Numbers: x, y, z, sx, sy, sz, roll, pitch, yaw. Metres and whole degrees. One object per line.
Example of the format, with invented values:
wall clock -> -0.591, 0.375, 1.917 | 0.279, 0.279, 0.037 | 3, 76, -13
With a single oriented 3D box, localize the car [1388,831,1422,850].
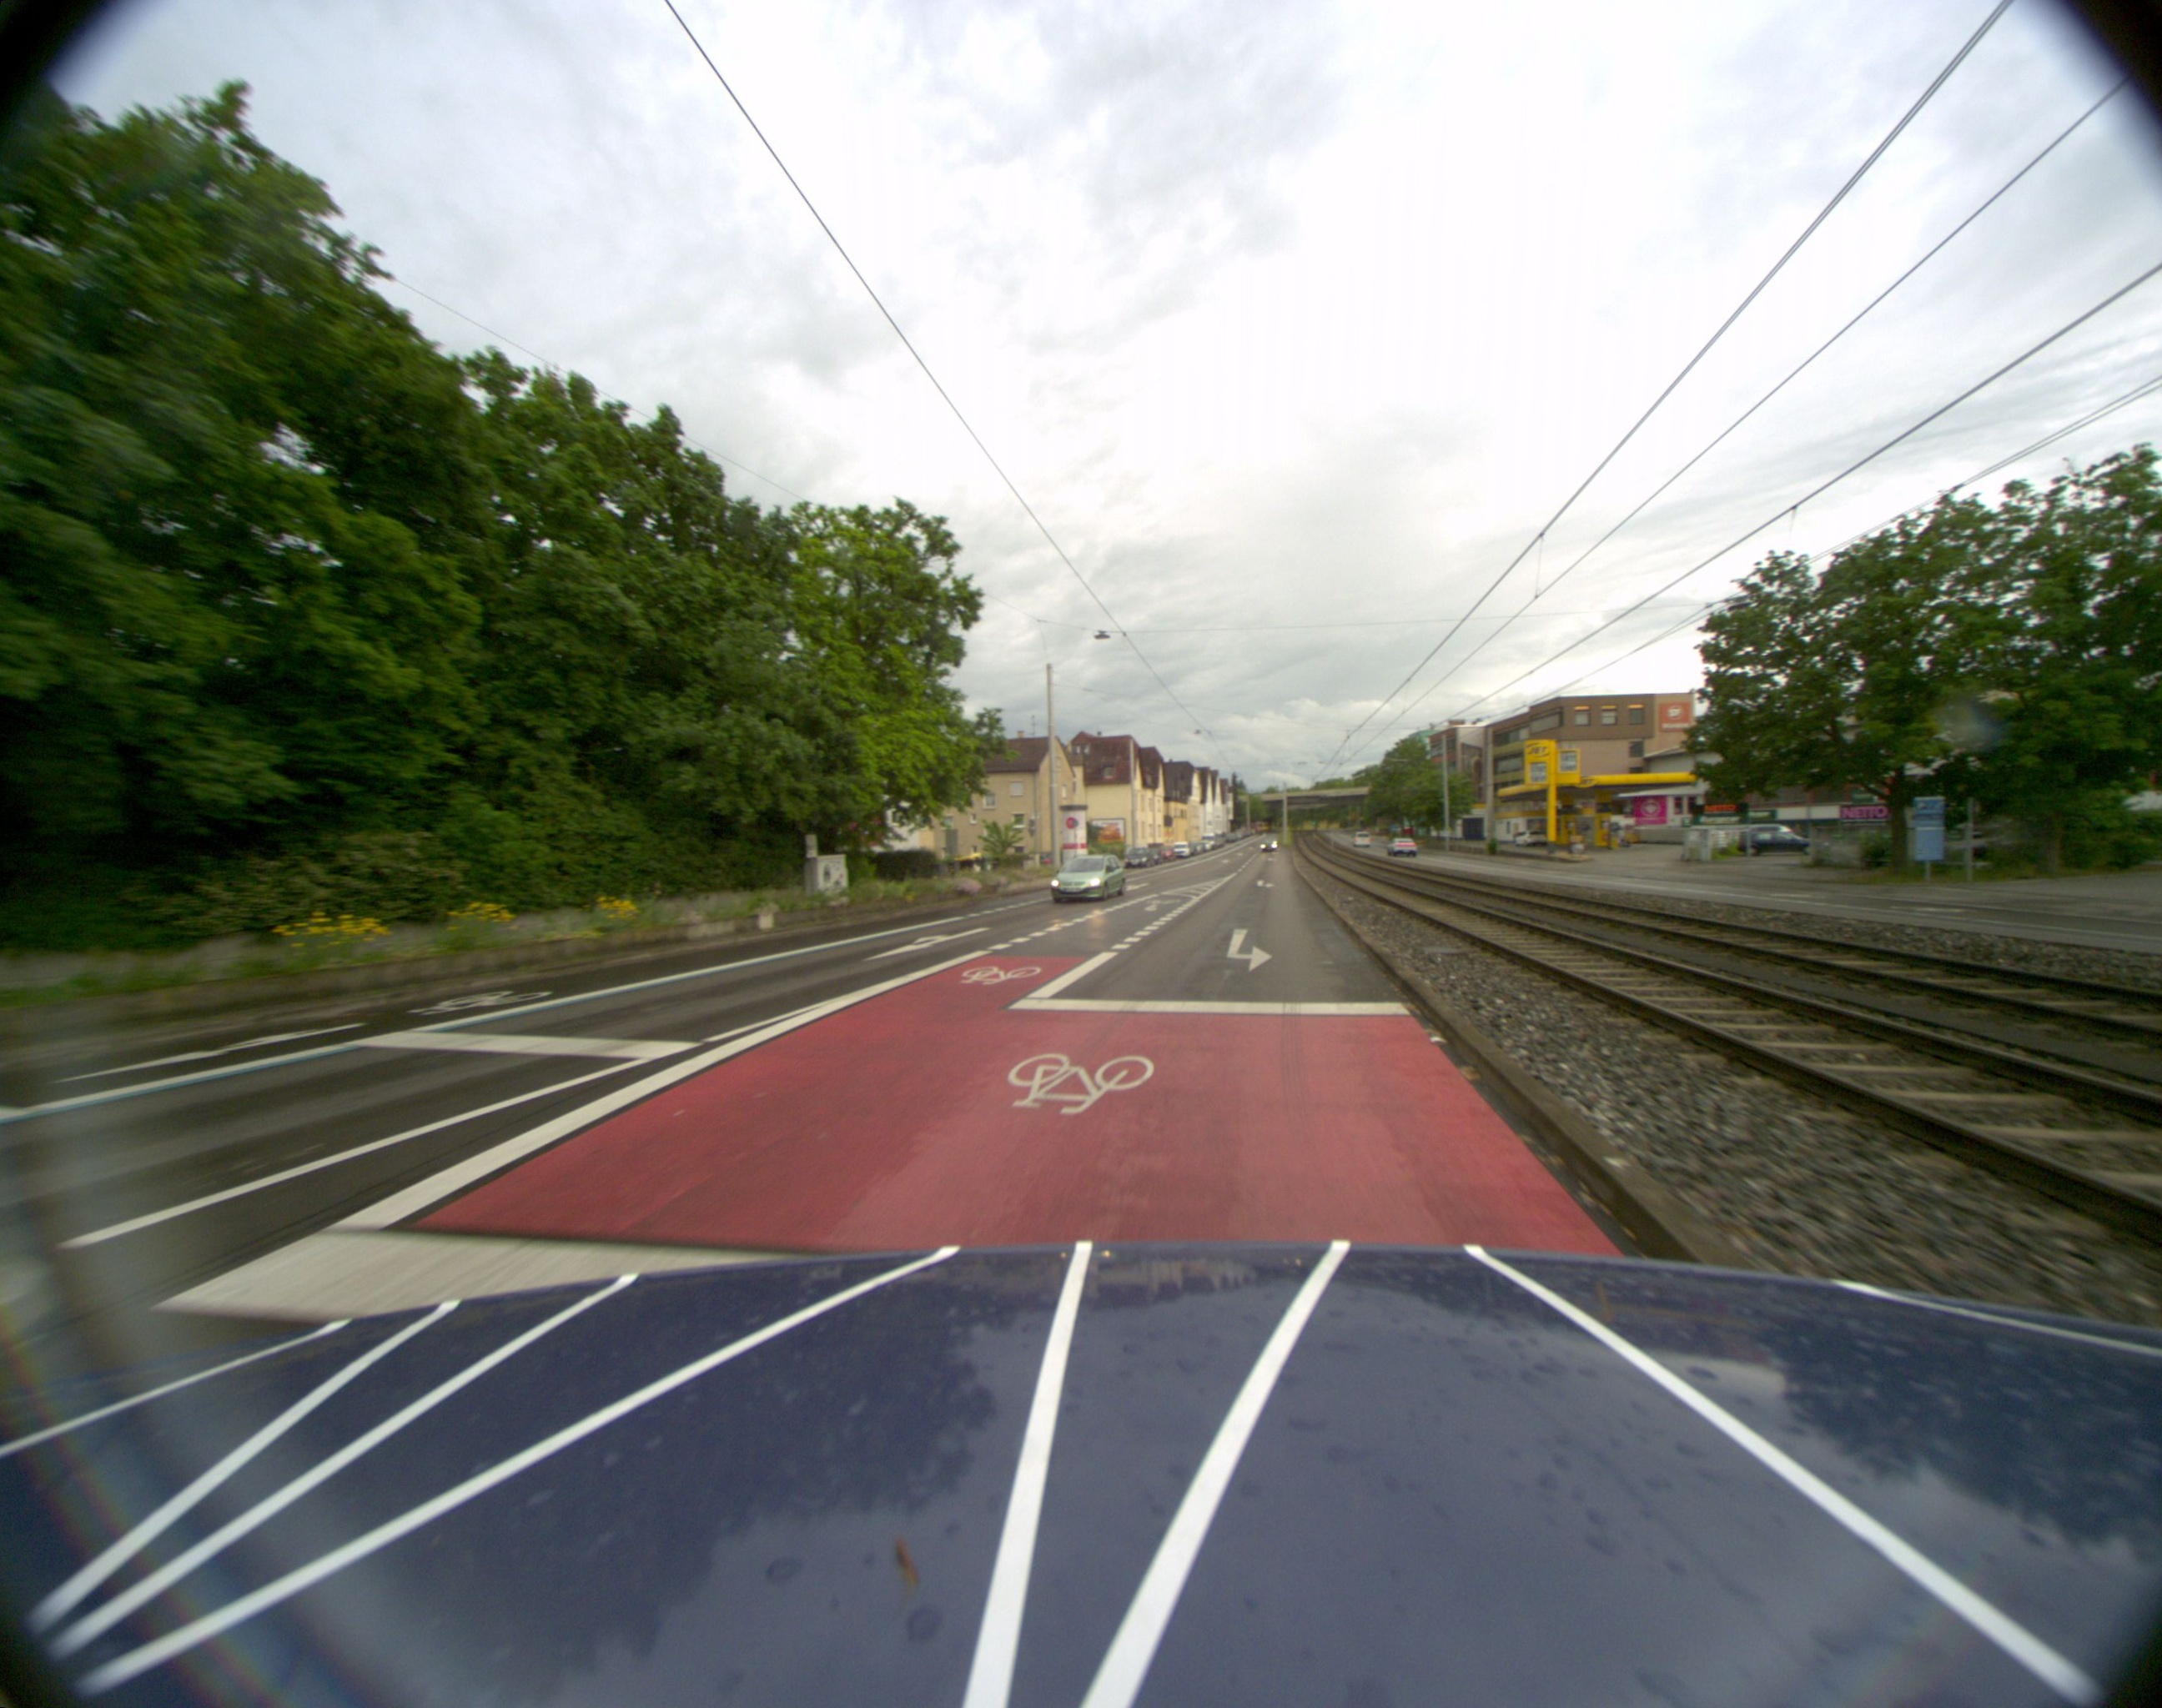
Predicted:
car -> 29.086, -1.245, 68.344 | 1.996, 1.640, 4.763 | 1, 1, 13

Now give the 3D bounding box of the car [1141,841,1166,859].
car -> 6.430, -0.367, 67.060 | 1.670, 1.436, 3.931 | -3, 2, 13

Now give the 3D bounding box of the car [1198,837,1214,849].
car -> 17.125, -1.565, 104.220 | 1.603, 1.456, 4.204 | -2, 2, 16

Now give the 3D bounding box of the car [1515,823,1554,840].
car -> 40.807, -2.022, 68.418 | 1.773, 1.408, 4.077 | -3, 2, 12

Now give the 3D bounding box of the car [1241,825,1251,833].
car -> 36.200, -5.425, 166.658 | 1.724, 1.539, 4.204 | -2, 2, 17

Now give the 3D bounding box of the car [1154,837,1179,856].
car -> 8.365, -0.749, 74.060 | 1.839, 1.619, 4.102 | -2, 2, 15

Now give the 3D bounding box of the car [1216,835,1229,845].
car -> 21.654, -2.143, 116.115 | 1.725, 1.338, 4.087 | -3, 2, 14

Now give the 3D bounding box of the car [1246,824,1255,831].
car -> 39.311, -6.150, 176.417 | 1.724, 1.539, 4.204 | -2, 2, 17

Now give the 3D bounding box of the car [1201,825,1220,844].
car -> 18.661, -2.866, 109.645 | 2.043, 2.485, 5.925 | -2, 2, 15

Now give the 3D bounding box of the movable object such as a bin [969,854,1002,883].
movable object such as a bin -> -4.989, 0.749, 39.789 | 1.313, 1.410, 1.301 | -3, 3, 12

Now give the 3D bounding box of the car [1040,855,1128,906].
car -> 0.210, 0.805, 24.827 | 1.886, 1.440, 4.204 | -2, 1, 14

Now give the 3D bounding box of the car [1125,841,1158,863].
car -> 4.867, -0.177, 60.868 | 1.839, 1.525, 4.442 | -3, 1, 14

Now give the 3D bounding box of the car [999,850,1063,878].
car -> -3.719, 0.746, 56.566 | 4.279, 1.646, 1.881 | -4, 2, 18

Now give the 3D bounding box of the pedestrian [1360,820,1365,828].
pedestrian -> 59.282, -6.230, 160.058 | 0.746, 1.636, 1.022 | -1, 3, 16

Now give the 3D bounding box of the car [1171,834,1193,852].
car -> 11.161, -1.232, 83.737 | 1.850, 1.747, 4.525 | -3, 2, 13

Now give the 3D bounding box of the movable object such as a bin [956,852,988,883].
movable object such as a bin -> -5.456, 0.657, 38.000 | 1.186, 1.410, 1.135 | -3, 3, 12

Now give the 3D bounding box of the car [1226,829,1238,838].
car -> 27.829, -3.802, 139.853 | 1.724, 1.539, 4.204 | -2, 2, 17

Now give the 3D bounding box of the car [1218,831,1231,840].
car -> 23.090, -2.972, 122.233 | 1.725, 1.338, 4.203 | -3, 2, 14

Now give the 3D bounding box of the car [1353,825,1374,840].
car -> 37.999, -2.865, 102.383 | 1.996, 2.002, 5.064 | 1, 2, 14

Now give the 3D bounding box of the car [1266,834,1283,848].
car -> 23.026, -1.571, 90.480 | 1.886, 1.417, 4.203 | -3, 2, 14

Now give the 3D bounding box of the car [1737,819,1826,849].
car -> 40.849, -1.130, 44.350 | 1.706, 1.580, 3.591 | -5, 3, -39

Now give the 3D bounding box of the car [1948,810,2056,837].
car -> 56.895, -1.859, 47.000 | 4.094, 1.640, 1.852 | 1, 2, 5

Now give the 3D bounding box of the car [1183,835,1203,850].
car -> 13.102, -1.375, 89.037 | 1.689, 1.503, 4.140 | -2, 2, 16
